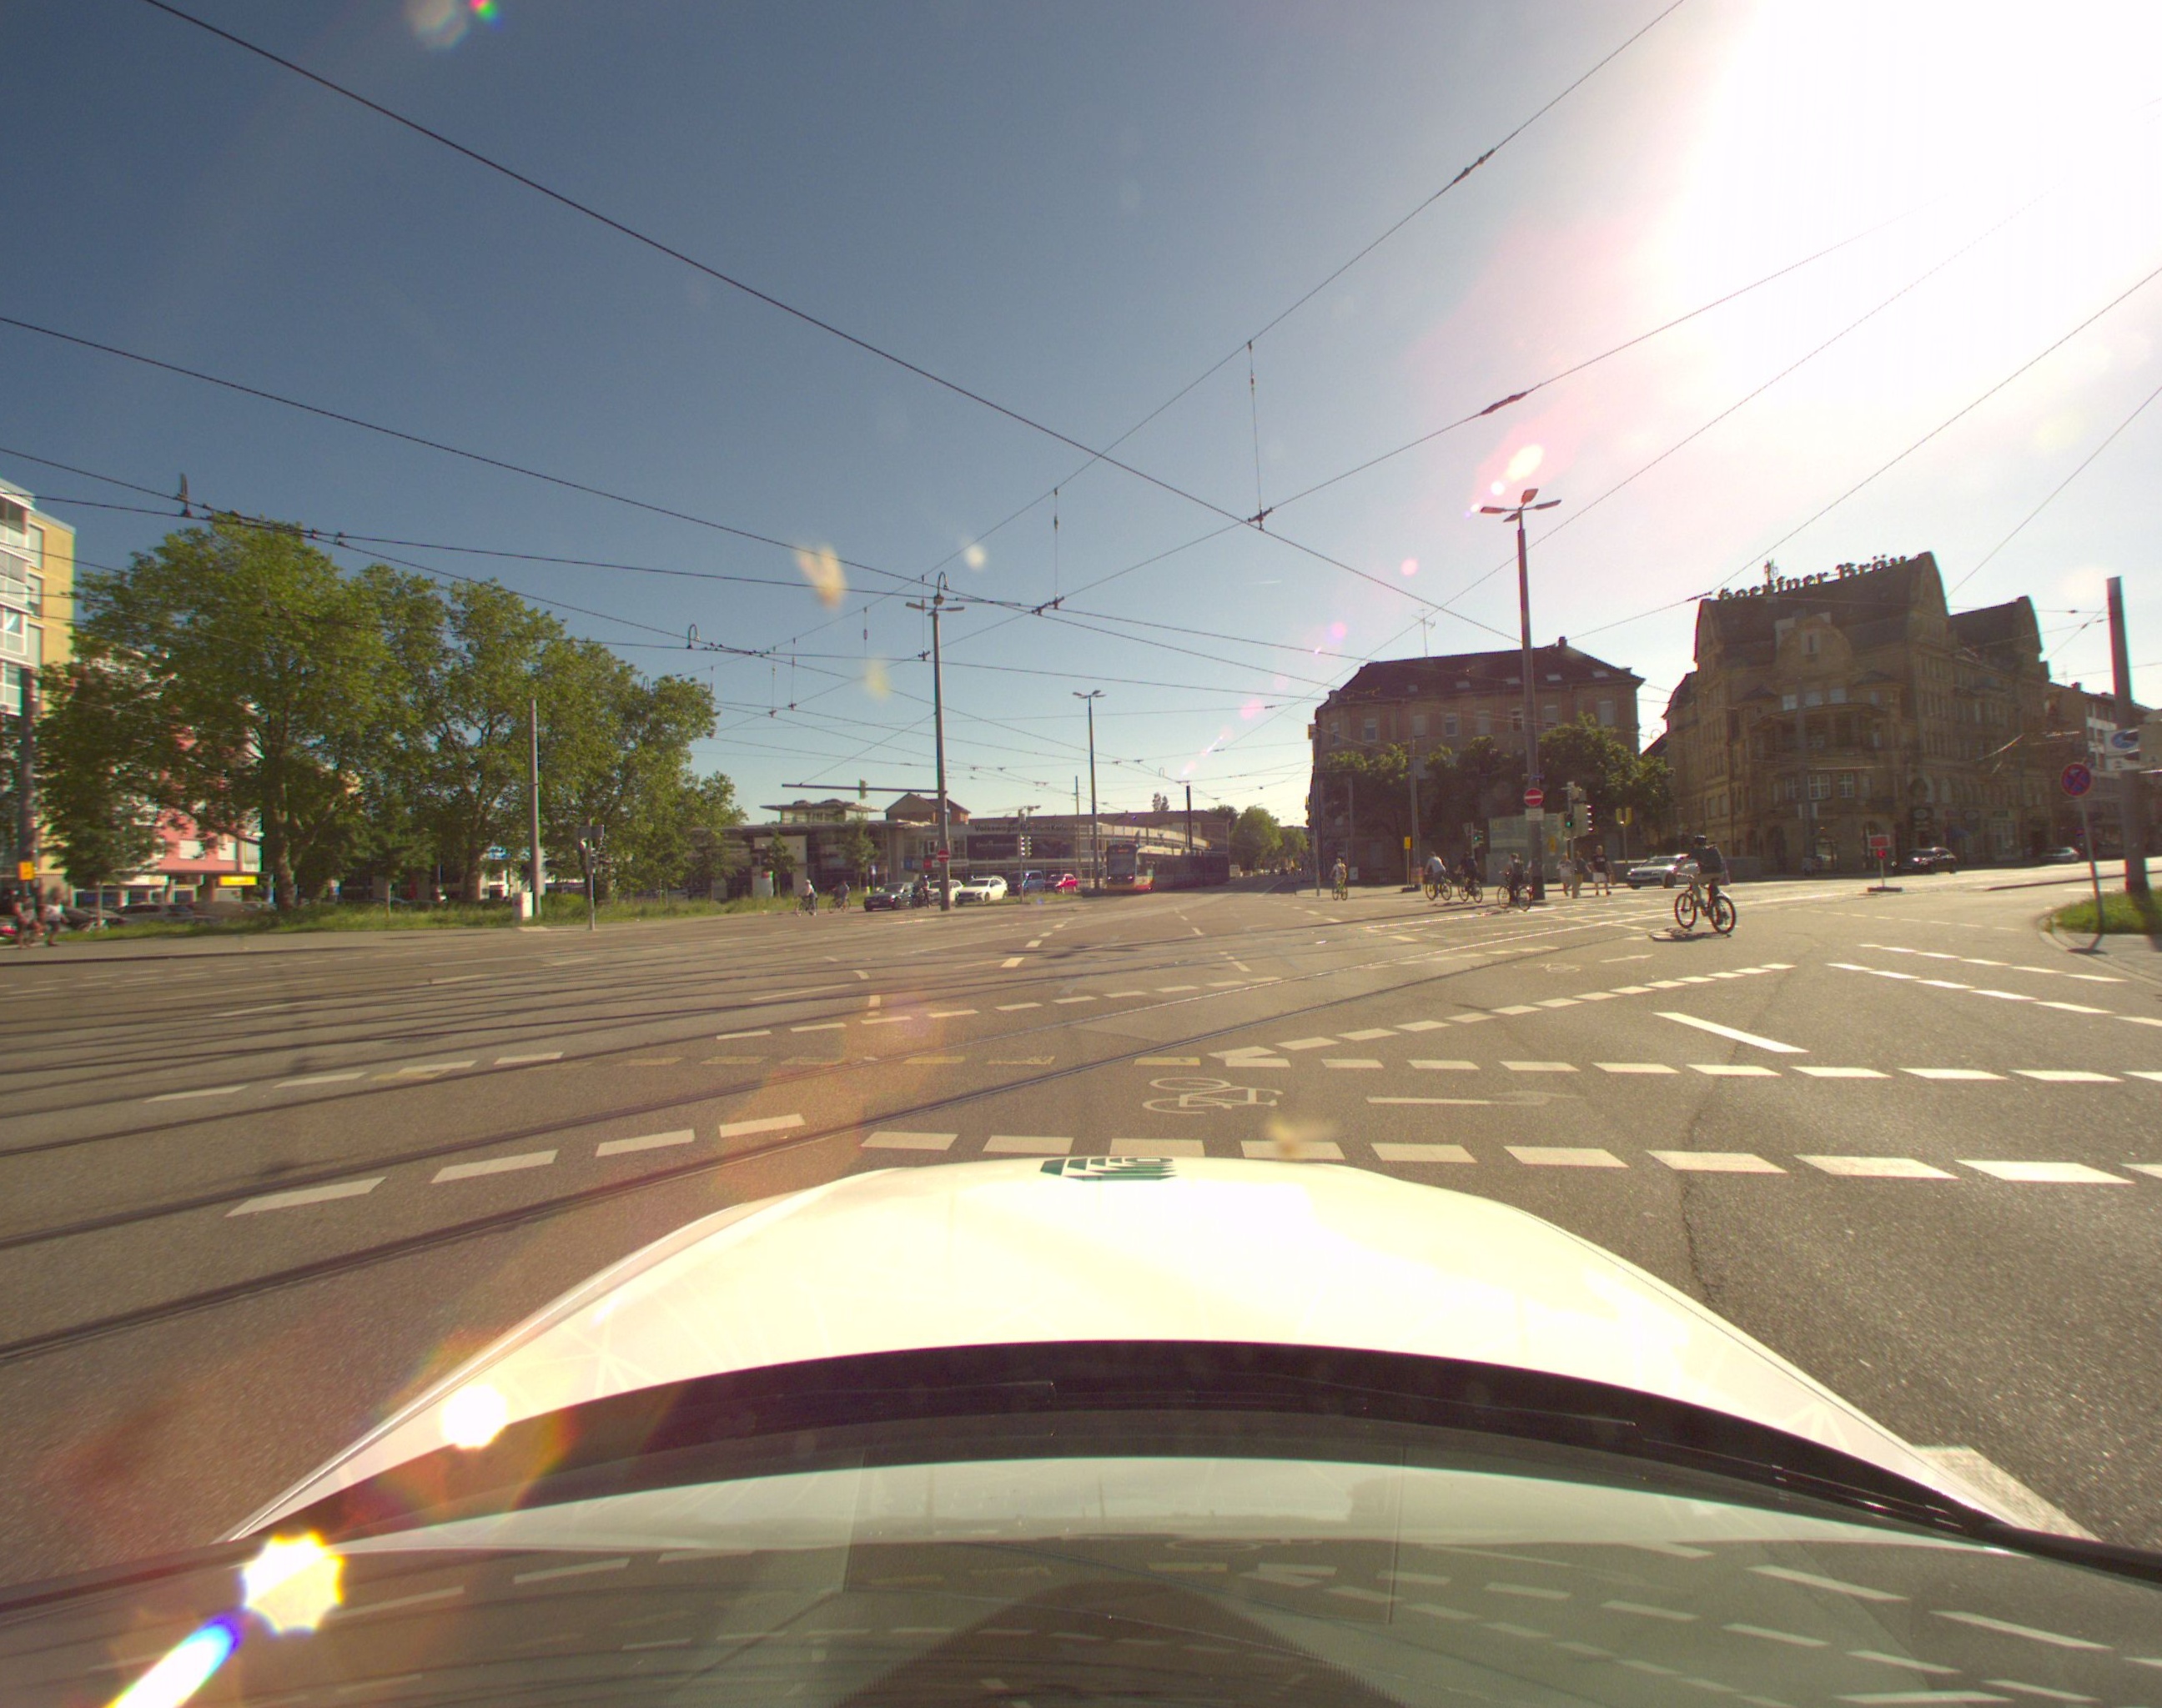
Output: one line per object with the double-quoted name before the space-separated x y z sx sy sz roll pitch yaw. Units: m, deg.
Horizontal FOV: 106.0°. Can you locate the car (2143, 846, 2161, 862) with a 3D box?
"car" 127.807 -0.072 96.432 4.026 1.621 1.737 -5 -1 -28

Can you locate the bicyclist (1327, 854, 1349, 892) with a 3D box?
"bicyclist" 11.538 0.846 36.560 0.677 1.684 1.121 0 -2 5

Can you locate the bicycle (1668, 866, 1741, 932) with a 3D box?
"bicycle" 11.952 0.824 15.660 0.527 1.158 1.874 0 0 18

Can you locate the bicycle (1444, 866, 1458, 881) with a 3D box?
"bicycle" 27.031 1.415 59.450 0.402 1.061 1.352 0 -2 0

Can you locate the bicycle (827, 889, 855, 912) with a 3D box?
"bicycle" -12.250 2.389 41.650 0.534 1.074 1.661 -3 -1 16

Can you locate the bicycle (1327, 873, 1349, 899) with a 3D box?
"bicycle" 11.571 1.425 36.722 0.529 1.117 1.936 0 0 5

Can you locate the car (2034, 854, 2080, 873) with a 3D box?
"car" 87.190 0.856 72.746 4.025 1.621 1.737 0 -3 -28

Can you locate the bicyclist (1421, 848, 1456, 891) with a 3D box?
"bicyclist" 13.667 0.609 31.121 0.783 1.593 0.881 -1 -2 -14

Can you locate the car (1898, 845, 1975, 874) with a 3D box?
"car" 53.888 0.374 51.293 4.256 1.687 1.904 -1 -3 -23

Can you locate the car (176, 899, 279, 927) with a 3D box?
"car" -53.523 3.662 51.179 4.004 1.499 1.985 -1 -1 -23

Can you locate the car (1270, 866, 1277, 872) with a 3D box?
"car" 54.918 4.362 232.722 1.745 1.697 4.161 -1 -2 16

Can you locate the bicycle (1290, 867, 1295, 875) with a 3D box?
"bicycle" 31.897 2.580 122.817 0.676 1.114 2.717 -1 -2 15

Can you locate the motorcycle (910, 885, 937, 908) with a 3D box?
"motorcycle" -8.012 2.160 41.542 0.514 1.047 1.755 -3 -2 17

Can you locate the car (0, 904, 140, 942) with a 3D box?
"car" -49.500 3.328 39.865 4.004 1.565 1.985 -1 -1 -23

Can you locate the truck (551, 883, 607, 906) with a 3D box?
"truck" -49.290 3.949 80.077 4.187 2.221 2.000 0 -2 1

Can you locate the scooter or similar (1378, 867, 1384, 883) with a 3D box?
"scooter or similar" 22.300 1.537 60.496 0.268 1.185 1.571 -1 -2 16

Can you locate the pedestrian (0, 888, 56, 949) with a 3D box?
"pedestrian" -35.586 2.154 27.454 0.855 2.030 0.866 0 -2 -11

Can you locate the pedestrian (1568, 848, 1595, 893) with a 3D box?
"pedestrian" 19.831 0.677 32.281 0.655 1.757 0.826 -1 -2 11

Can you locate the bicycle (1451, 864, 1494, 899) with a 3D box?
"bicycle" 13.367 0.955 27.846 0.529 1.118 1.934 -2 -3 1

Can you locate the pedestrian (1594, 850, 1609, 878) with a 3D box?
"pedestrian" 34.016 0.672 53.215 0.651 1.849 0.542 1 -2 -27

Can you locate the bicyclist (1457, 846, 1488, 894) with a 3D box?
"bicyclist" 13.371 0.560 27.842 0.621 1.613 0.981 0 -2 3

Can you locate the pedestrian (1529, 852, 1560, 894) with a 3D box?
"pedestrian" 17.609 0.718 30.933 0.735 1.596 0.791 0 -2 5

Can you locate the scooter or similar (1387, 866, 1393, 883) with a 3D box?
"scooter or similar" 22.922 1.510 60.332 0.268 1.196 1.571 -1 -2 16

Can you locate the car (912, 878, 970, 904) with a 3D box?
"car" -8.247 2.170 48.260 1.789 1.432 4.016 -1 -2 16

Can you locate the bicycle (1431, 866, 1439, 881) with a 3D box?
"bicycle" 25.984 1.450 59.773 0.400 1.061 1.358 -1 -2 16

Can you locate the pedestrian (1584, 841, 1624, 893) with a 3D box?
"pedestrian" 19.617 0.492 30.578 0.924 1.930 1.052 -1 -2 11

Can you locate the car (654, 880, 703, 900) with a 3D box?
"car" -41.702 3.749 84.420 3.980 2.014 1.996 0 -2 -5

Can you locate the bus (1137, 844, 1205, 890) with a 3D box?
"bus" 7.875 1.112 69.661 2.816 3.590 10.782 -2 -2 22

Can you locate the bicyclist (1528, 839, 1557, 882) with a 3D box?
"bicyclist" 17.645 0.258 31.165 0.595 1.613 0.954 0 -2 6

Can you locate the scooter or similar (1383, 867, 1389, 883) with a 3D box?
"scooter or similar" 22.607 1.534 60.424 0.268 1.185 1.571 -1 -2 16

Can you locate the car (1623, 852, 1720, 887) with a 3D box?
"car" 29.341 0.763 40.480 4.256 1.621 1.904 -1 -3 -23

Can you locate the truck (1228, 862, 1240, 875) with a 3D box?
"truck" 35.322 3.339 187.417 2.521 2.830 6.396 -1 -2 12

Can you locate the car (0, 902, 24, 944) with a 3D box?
"car" -49.105 3.089 34.996 4.004 1.807 1.985 -1 -1 -23

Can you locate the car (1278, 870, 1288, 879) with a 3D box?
"car" 46.121 4.573 185.605 1.978 2.014 4.016 -1 -2 16

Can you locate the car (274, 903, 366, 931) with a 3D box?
"car" -49.281 4.047 52.803 3.841 1.631 1.995 -2 -3 -6

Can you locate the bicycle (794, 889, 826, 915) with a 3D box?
"bicycle" -13.348 2.342 40.139 0.534 1.184 1.761 -3 -1 16

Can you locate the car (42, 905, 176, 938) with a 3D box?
"car" -50.623 3.496 42.545 4.004 1.389 1.985 -1 -1 -23

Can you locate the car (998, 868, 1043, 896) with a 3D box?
"car" -4.443 2.071 60.285 1.788 1.933 4.183 -3 -2 18

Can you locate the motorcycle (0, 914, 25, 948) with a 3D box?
"motorcycle" -40.497 2.815 29.595 2.942 1.177 1.293 0 -2 9

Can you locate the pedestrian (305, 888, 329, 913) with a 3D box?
"pedestrian" -64.873 3.945 69.138 1.110 2.014 1.168 1 -2 -26

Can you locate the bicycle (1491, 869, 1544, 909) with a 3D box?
"bicycle" 12.880 1.024 24.093 0.530 1.117 1.933 0 -2 0

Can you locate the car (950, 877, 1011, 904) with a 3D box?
"car" -5.682 2.040 46.418 1.789 1.432 4.559 -1 -2 16

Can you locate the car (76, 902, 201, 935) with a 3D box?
"car" -51.498 3.505 44.603 4.004 1.499 1.985 -1 -1 -23

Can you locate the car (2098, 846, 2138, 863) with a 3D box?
"car" 105.120 0.086 82.556 4.025 1.621 1.737 0 -3 -28

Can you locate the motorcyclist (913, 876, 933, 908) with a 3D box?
"motorcyclist" -8.047 1.925 41.558 0.580 1.580 0.947 -3 -3 17

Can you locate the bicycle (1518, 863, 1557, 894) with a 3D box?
"bicycle" 17.404 0.914 31.095 0.529 1.117 1.936 0 0 5

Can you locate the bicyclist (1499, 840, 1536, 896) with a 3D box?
"bicyclist" 12.879 0.429 24.042 0.548 1.613 0.952 0 -2 0

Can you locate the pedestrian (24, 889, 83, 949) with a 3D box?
"pedestrian" -35.725 2.249 28.329 0.855 2.030 0.866 0 -2 -11

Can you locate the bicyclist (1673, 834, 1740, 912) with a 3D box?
"bicyclist" 11.891 0.359 15.507 0.668 1.421 1.041 -1 -2 18

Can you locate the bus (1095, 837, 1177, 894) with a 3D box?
"bus" 4.262 0.853 58.795 2.819 3.590 13.553 -2 -1 17

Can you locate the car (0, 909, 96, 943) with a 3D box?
"car" -48.856 3.343 37.482 4.004 1.389 1.985 -1 -1 -23

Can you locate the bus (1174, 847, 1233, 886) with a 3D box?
"bus" 12.195 1.230 79.971 2.816 3.590 11.331 -2 -2 23

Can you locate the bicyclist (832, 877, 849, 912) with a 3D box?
"bicyclist" -12.279 2.063 41.543 0.569 1.742 0.604 -1 0 16

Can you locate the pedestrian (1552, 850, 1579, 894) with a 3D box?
"pedestrian" 18.858 0.704 31.694 0.655 1.677 0.826 -1 -2 11

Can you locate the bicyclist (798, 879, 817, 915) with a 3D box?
"bicyclist" -13.410 2.102 39.958 0.569 1.742 0.681 -1 0 16

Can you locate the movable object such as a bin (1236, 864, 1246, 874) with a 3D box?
"movable object such as a bin" 42.812 4.120 217.629 2.478 2.645 6.009 -1 -1 13

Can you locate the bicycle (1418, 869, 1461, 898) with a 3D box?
"bicycle" 13.677 1.141 31.104 0.386 1.069 1.925 -2 -2 -12

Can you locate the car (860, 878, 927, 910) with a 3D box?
"car" -9.669 2.048 42.306 1.637 1.479 3.987 -4 -2 16

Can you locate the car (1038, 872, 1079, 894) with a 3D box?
"car" -1.811 2.368 67.443 1.784 1.719 4.438 -3 -3 21
